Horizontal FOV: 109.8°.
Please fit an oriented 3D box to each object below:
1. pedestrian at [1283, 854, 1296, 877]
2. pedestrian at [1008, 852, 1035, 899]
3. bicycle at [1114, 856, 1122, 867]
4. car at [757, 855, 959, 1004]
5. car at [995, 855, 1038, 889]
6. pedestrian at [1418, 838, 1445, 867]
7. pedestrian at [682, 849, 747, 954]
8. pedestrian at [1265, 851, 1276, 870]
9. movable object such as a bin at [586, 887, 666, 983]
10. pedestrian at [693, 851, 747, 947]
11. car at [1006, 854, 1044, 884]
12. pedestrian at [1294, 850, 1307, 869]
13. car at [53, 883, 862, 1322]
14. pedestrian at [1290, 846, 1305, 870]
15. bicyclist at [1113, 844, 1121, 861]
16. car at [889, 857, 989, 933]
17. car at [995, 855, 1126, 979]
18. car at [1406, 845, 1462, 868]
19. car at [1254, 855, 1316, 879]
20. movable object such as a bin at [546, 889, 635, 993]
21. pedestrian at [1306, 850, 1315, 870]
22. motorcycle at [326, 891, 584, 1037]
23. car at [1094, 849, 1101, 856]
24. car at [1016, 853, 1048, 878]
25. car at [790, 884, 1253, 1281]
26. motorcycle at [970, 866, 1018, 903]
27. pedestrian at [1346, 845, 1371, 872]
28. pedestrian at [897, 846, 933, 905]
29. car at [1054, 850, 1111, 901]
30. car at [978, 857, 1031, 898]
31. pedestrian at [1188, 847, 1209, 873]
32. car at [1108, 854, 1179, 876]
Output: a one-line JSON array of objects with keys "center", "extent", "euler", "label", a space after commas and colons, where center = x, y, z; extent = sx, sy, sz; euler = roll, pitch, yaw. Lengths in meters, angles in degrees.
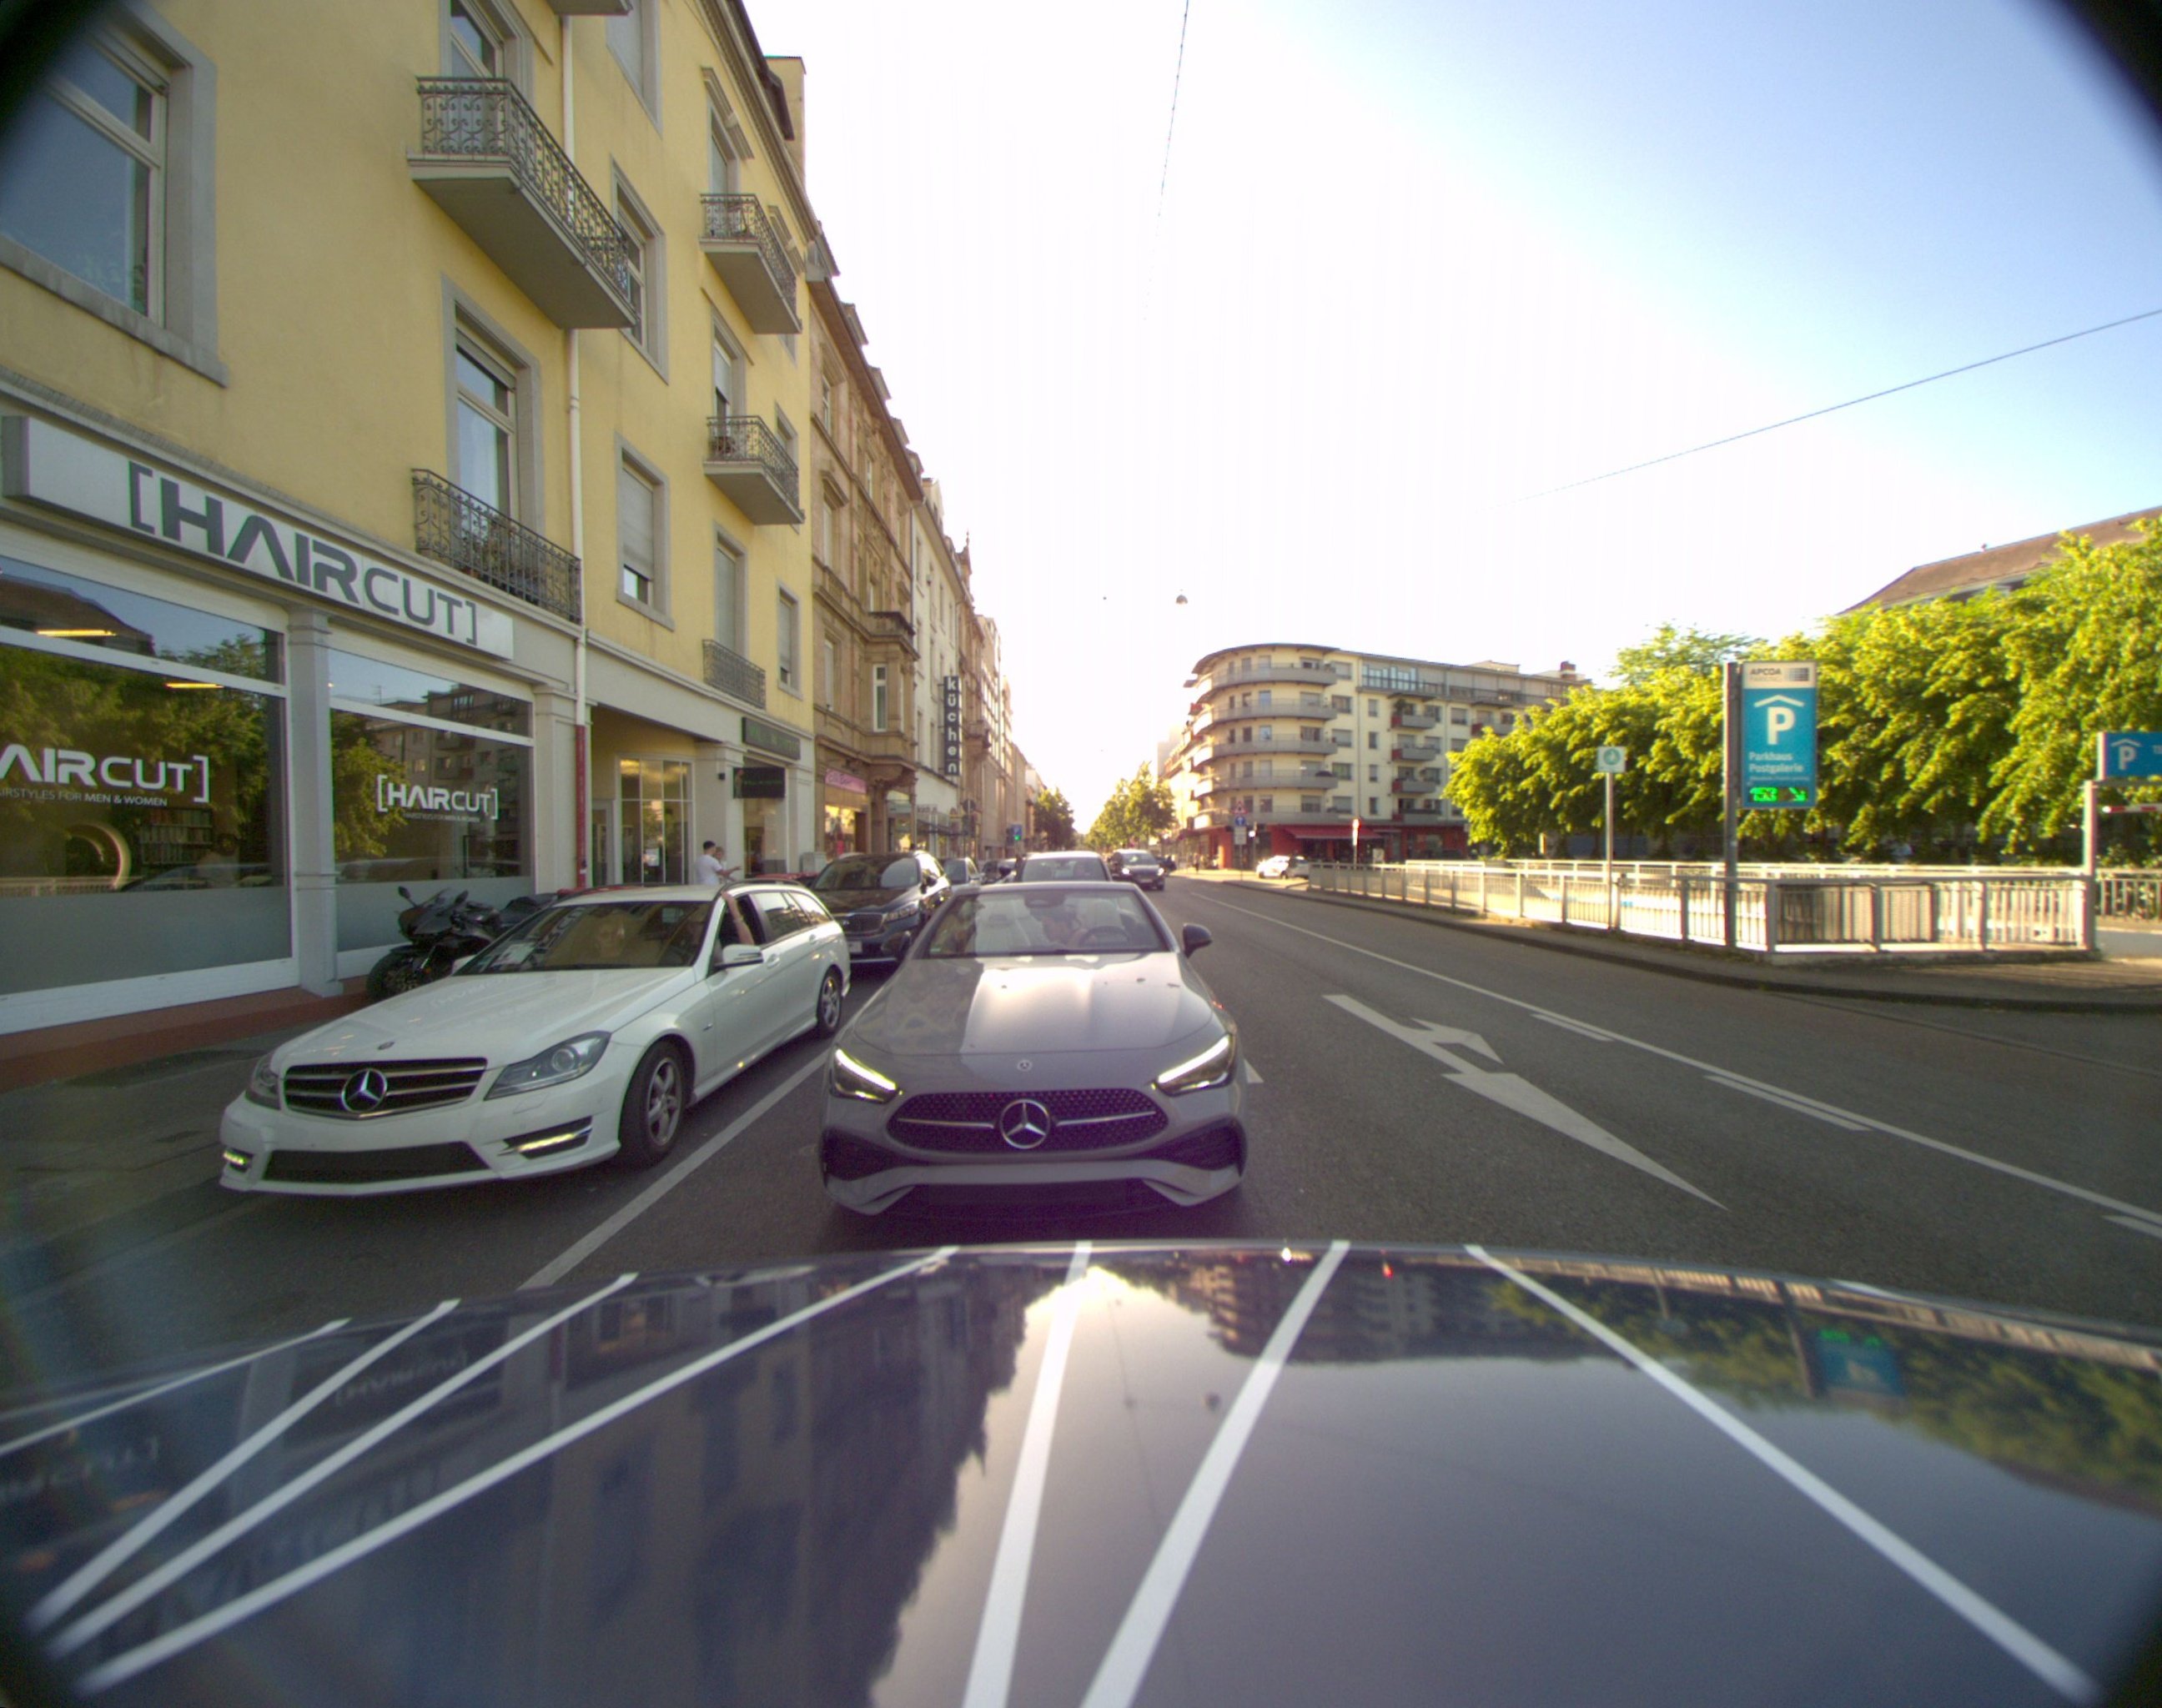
[{"center": [15.554, 0.865, 56.634], "extent": [0.674, 1.696, 0.699], "euler": [-2, 1, -5], "label": "pedestrian"}, {"center": [-2.164, 0.767, 27.479], "extent": [0.694, 1.657, 0.833], "euler": [-2, 1, -23], "label": "pedestrian"}, {"center": [3.771, 0.807, 78.099], "extent": [0.661, 1.083, 1.970], "euler": [-2, 0, -2], "label": "bicycle"}, {"center": [-3.005, 0.896, 11.351], "extent": [1.858, 1.688, 4.697], "euler": [-1, 0, -4], "label": "car"}, {"center": [-3.052, 0.818, 36.486], "extent": [1.715, 1.477, 3.999], "euler": [-1, 0, 0], "label": "car"}, {"center": [25.248, -0.113, 54.758], "extent": [1.318, 2.002, 1.296], "euler": [-1, 1, 4], "label": "pedestrian"}, {"center": [-5.822, 0.729, 12.095], "extent": [0.642, 1.607, 0.701], "euler": [-1, 1, -1], "label": "pedestrian"}, {"center": [15.049, 0.511, 60.278], "extent": [0.791, 1.452, 0.583], "euler": [-1, 1, 10], "label": "pedestrian"}, {"center": [-6.058, 1.056, 10.145], "extent": [0.647, 1.200, 0.644], "euler": [-1, 1, 1], "label": "movable object such as a bin"}, {"center": [-6.192, 0.753, 13.056], "extent": [0.572, 1.607, 0.643], "euler": [-1, 1, 2], "label": "pedestrian"}, {"center": [-2.984, 0.769, 41.004], "extent": [1.715, 1.477, 3.999], "euler": [-1, 0, 0], "label": "car"}, {"center": [17.686, 0.451, 61.161], "extent": [0.583, 1.453, 0.790], "euler": [-2, 1, -37], "label": "pedestrian"}, {"center": [-3.059, 1.047, 5.232], "extent": [1.759, 1.453, 4.597], "euler": [-1, 0, 0], "label": "car"}, {"center": [16.231, 0.301, 57.015], "extent": [0.756, 1.795, 0.755], "euler": [-2, 1, -41], "label": "pedestrian"}, {"center": [3.701, -0.153, 78.113], "extent": [0.758, 1.651, 1.143], "euler": [-2, 1, 0], "label": "bicyclist"}, {"center": [-3.259, 0.895, 17.937], "extent": [1.696, 1.559, 3.018], "euler": [-1, 0, 1], "label": "car"}, {"center": [-0.251, 0.854, 12.182], "extent": [1.716, 1.599, 4.000], "euler": [-1, 0, 1], "label": "car"}, {"center": [29.030, 0.188, 62.459], "extent": [4.004, 1.740, 1.996], "euler": [-2, 1, -23], "label": "car"}, {"center": [12.549, 0.767, 47.000], "extent": [1.804, 1.426, 4.245], "euler": [-2, 0, -15], "label": "car"}, {"center": [-6.108, 1.066, 9.493], "extent": [0.647, 1.200, 0.644], "euler": [-1, 1, 1], "label": "movable object such as a bin"}, {"center": [17.947, 0.473, 59.506], "extent": [0.581, 1.481, 0.793], "euler": [-1, 1, 13], "label": "pedestrian"}, {"center": [-6.261, 1.026, 7.831], "extent": [0.773, 1.158, 2.247], "euler": [1, 0, 1], "label": "motorcycle"}, {"center": [4.674, -0.350, 212.447], "extent": [1.998, 1.805, 4.000], "euler": [-2, 0, 1], "label": "car"}, {"center": [-3.027, 0.697, 47.598], "extent": [1.715, 1.477, 4.062], "euler": [-1, 0, 0], "label": "car"}, {"center": [-0.257, 1.021, 5.238], "extent": [1.849, 1.371, 4.255], "euler": [-2, 0, -1], "label": "car"}, {"center": [-3.058, 1.052, 26.793], "extent": [0.769, 1.225, 1.546], "euler": [-1, 1, 42], "label": "motorcycle"}, {"center": [21.644, 0.351, 59.304], "extent": [1.234, 2.002, 1.259], "euler": [-2, 1, -21], "label": "pedestrian"}, {"center": [-4.641, 0.593, 21.263], "extent": [0.795, 1.607, 0.763], "euler": [-1, 1, -1], "label": "pedestrian"}, {"center": [0.071, 0.733, 28.607], "extent": [1.952, 1.742, 4.000], "euler": [-1, 0, 1], "label": "car"}, {"center": [-3.018, 0.906, 30.733], "extent": [1.715, 1.477, 3.999], "euler": [-1, 0, 0], "label": "car"}, {"center": [9.206, 0.478, 59.369], "extent": [1.202, 2.002, 1.018], "euler": [-3, 1, -37], "label": "pedestrian"}, {"center": [4.177, 0.722, 50.958], "extent": [4.293, 1.375, 1.997], "euler": [-2, 0, -19], "label": "car"}]
